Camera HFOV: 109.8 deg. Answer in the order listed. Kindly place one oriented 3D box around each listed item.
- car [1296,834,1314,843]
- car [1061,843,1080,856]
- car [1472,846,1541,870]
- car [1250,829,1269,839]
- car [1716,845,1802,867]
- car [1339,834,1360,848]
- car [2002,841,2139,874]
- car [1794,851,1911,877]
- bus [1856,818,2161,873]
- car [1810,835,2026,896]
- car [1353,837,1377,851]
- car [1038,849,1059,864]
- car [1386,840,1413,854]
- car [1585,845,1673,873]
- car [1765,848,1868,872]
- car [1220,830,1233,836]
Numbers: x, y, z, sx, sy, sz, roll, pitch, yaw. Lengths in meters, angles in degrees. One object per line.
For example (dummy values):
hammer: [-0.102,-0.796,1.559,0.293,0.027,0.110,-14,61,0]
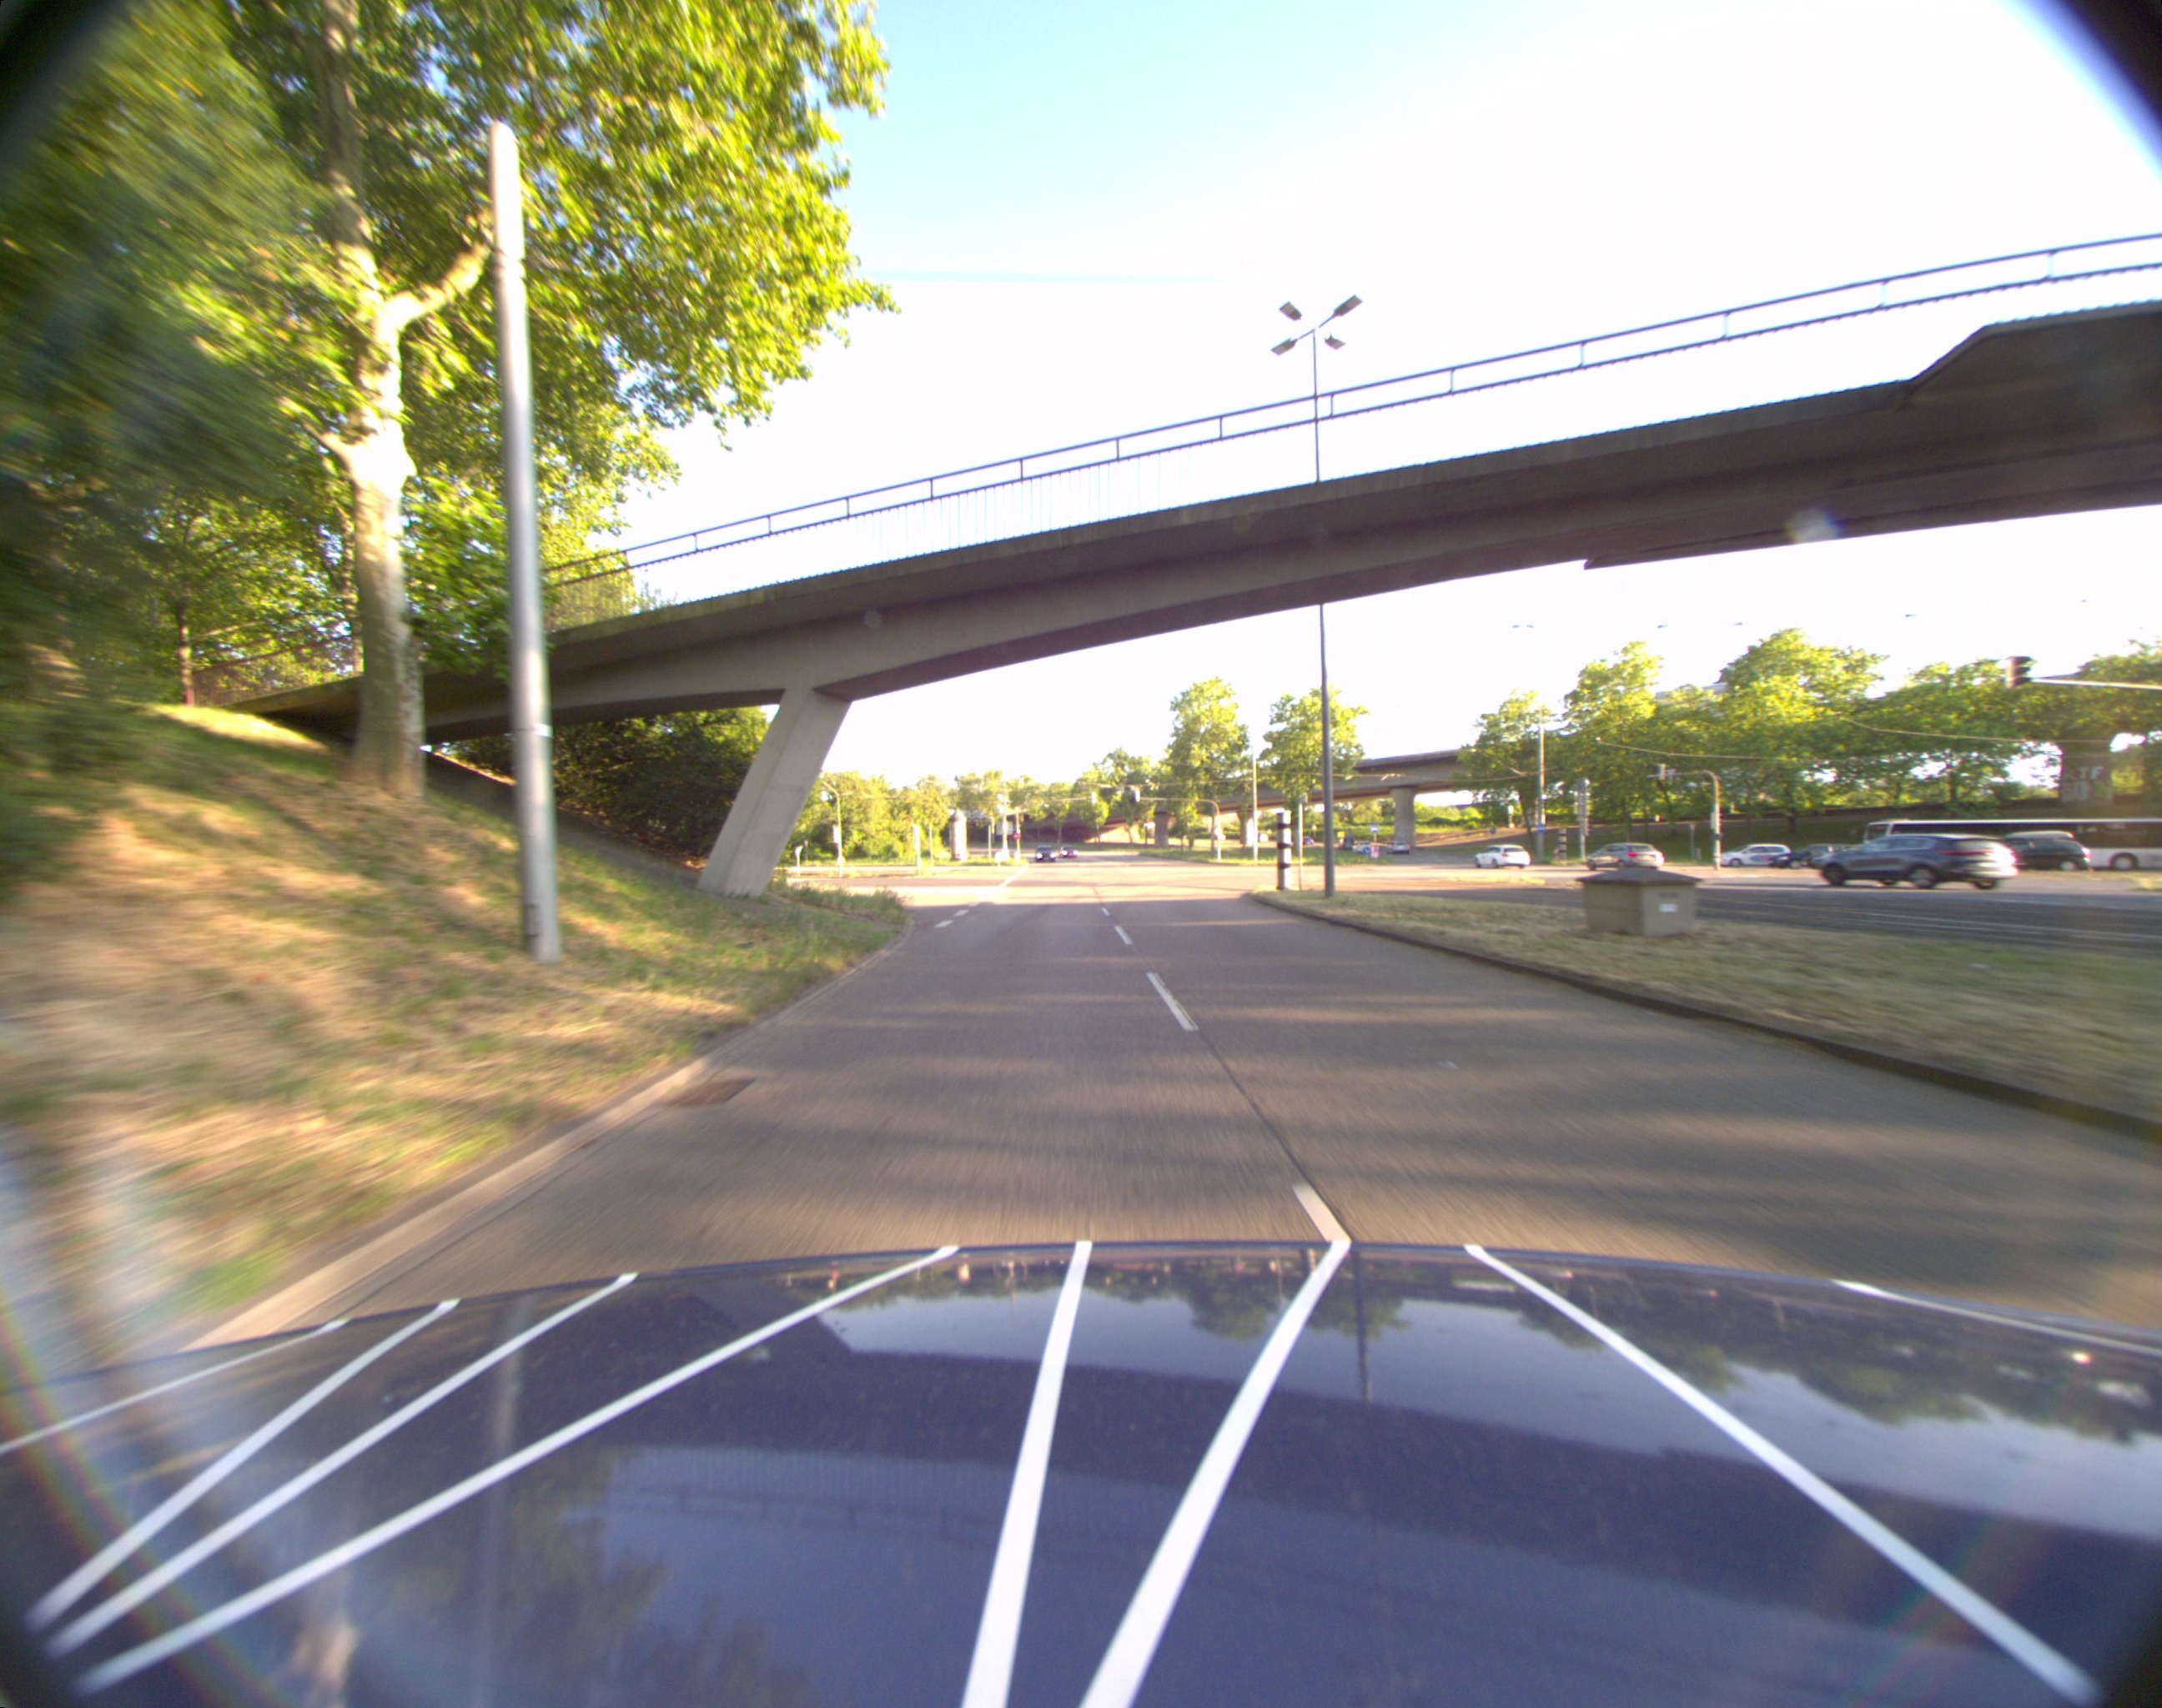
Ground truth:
car: [39.297,-2.783,133.418,1.999,1.550,3.934,0,1,-1]
car: [-1.228,-0.564,92.189,1.998,1.477,4.001,-1,0,3]
car: [26.762,0.206,48.025,2.009,1.435,4.862,-1,1,5]
car: [36.236,-4.029,154.330,2.000,1.894,4.700,-1,1,-10]
car: [42.818,0.140,48.062,3.726,1.346,1.611,0,1,18]
car: [36.143,-1.795,102.284,1.854,1.856,4.148,0,1,7]
car: [52.229,0.158,40.207,4.085,1.643,1.719,0,1,21]
car: [41.936,0.543,41.414,4.085,1.346,1.719,0,1,21]
bus: [53.759,-0.508,43.657,12.822,2.937,2.835,0,1,22]
car: [25.242,0.303,23.193,1.795,1.641,4.356,-1,1,0]
car: [33.229,-1.208,89.134,1.854,1.600,4.310,0,1,9]
car: [-3.483,0.250,80.033,1.999,1.477,3.998,-1,0,-5]
car: [36.536,-0.808,87.214,1.854,1.600,4.372,0,1,8]
car: [30.002,0.230,41.775,2.010,1.435,4.254,-1,1,4]
car: [42.661,0.345,44.173,3.991,1.346,1.611,0,1,18]
car: [32.660,-4.710,171.074,1.697,1.414,3.729,-1,1,-10]
